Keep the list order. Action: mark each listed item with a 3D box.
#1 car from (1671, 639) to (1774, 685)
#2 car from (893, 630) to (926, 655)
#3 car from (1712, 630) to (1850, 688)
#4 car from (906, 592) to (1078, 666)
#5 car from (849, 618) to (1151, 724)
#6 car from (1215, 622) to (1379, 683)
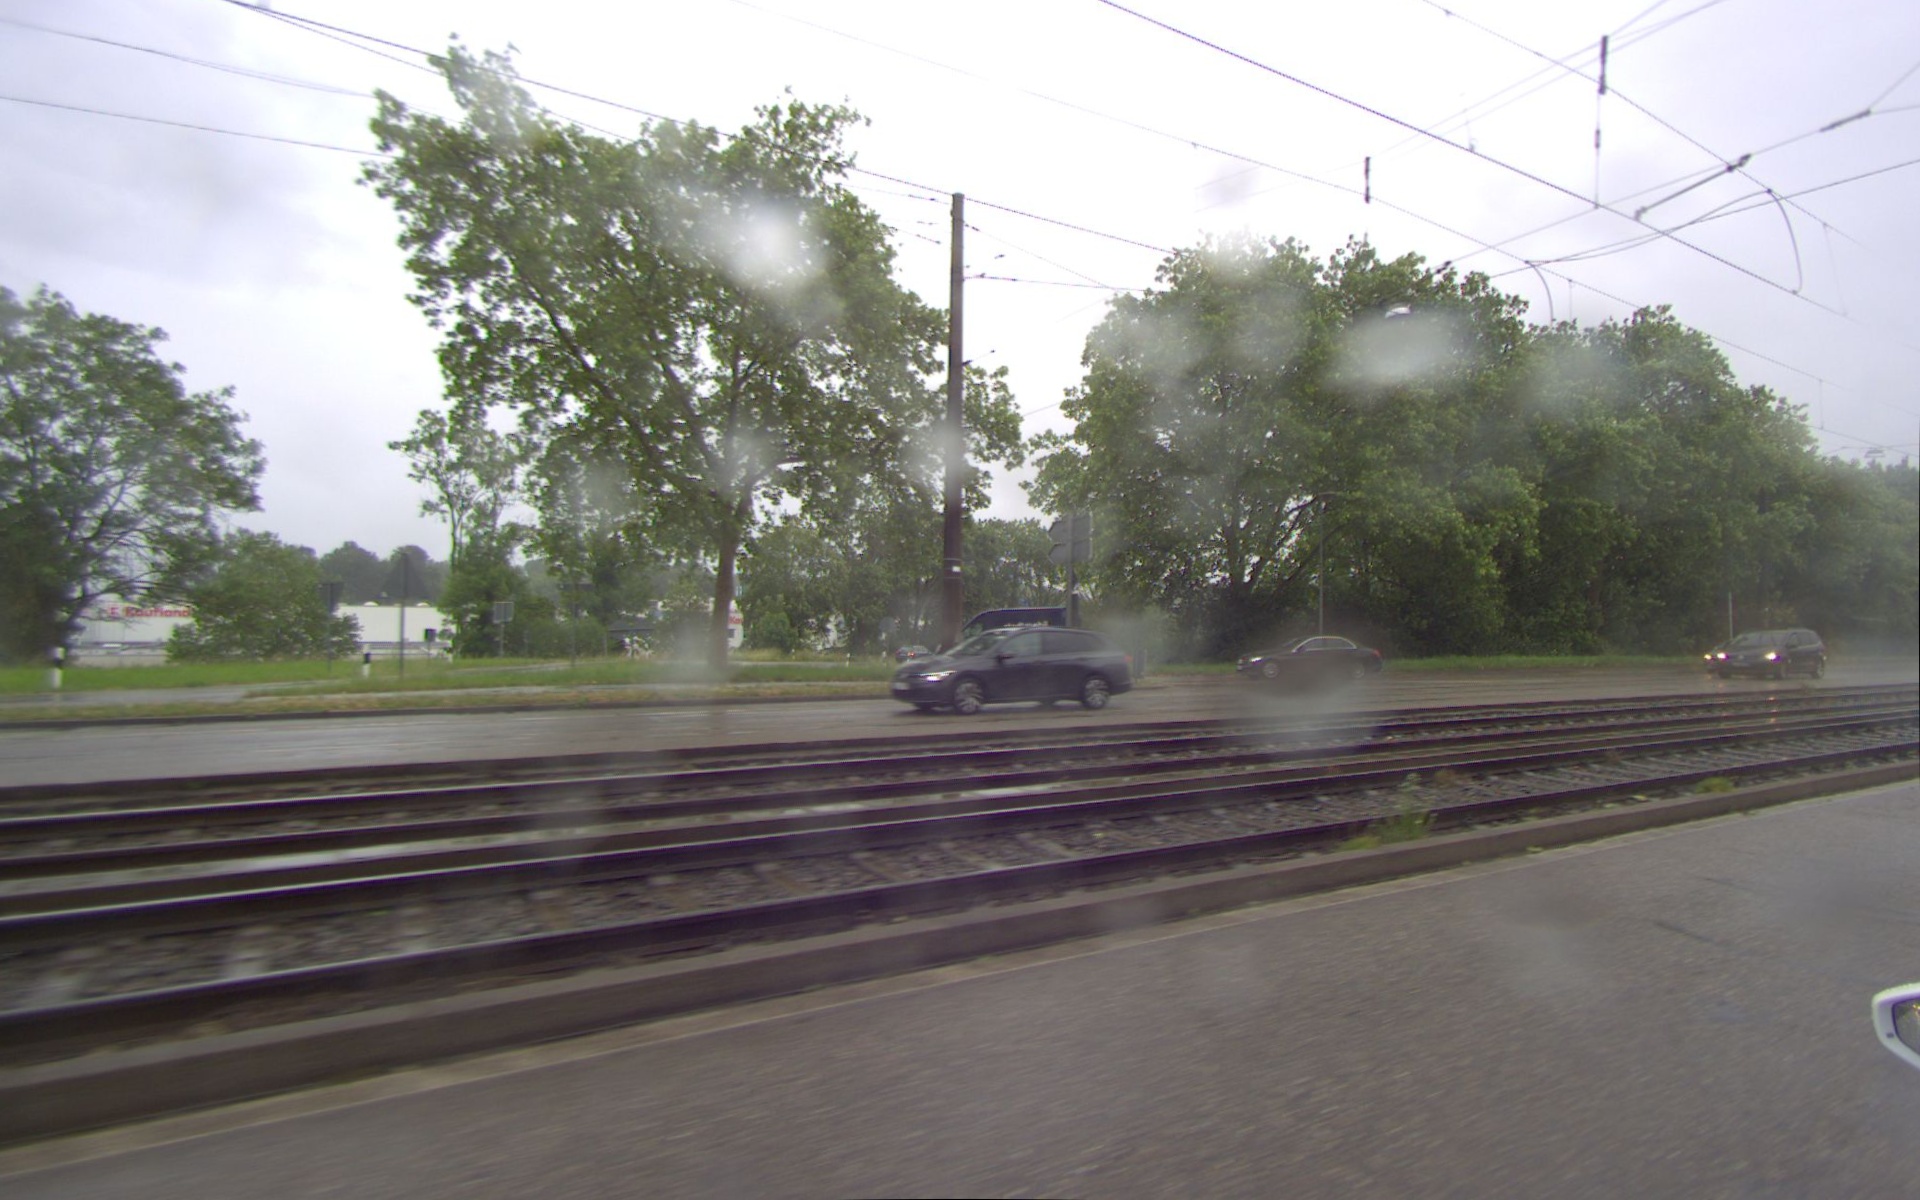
[{"bbox_3d":[32.542,2.593,42.834,4.963,1.729,1.810,0,1,-31],"label":"car"},{"bbox_3d":[-3.881,3.267,77.665,1.628,1.684,3.620,1,1,12],"label":"car"},{"bbox_3d":[28.623,1.979,34.935,6.035,1.729,1.810,0,1,-31],"label":"car"},{"bbox_3d":[1.148,0.967,36.167,5.734,2.458,2.339,1,1,21],"label":"car"},{"bbox_3d":[0.792,1.134,17.749,5.252,1.570,1.781,0,1,-31],"label":"car"},{"bbox_3d":[10.994,1.707,32.999,4.670,1.822,2.089,1,1,-1],"label":"car"}]
